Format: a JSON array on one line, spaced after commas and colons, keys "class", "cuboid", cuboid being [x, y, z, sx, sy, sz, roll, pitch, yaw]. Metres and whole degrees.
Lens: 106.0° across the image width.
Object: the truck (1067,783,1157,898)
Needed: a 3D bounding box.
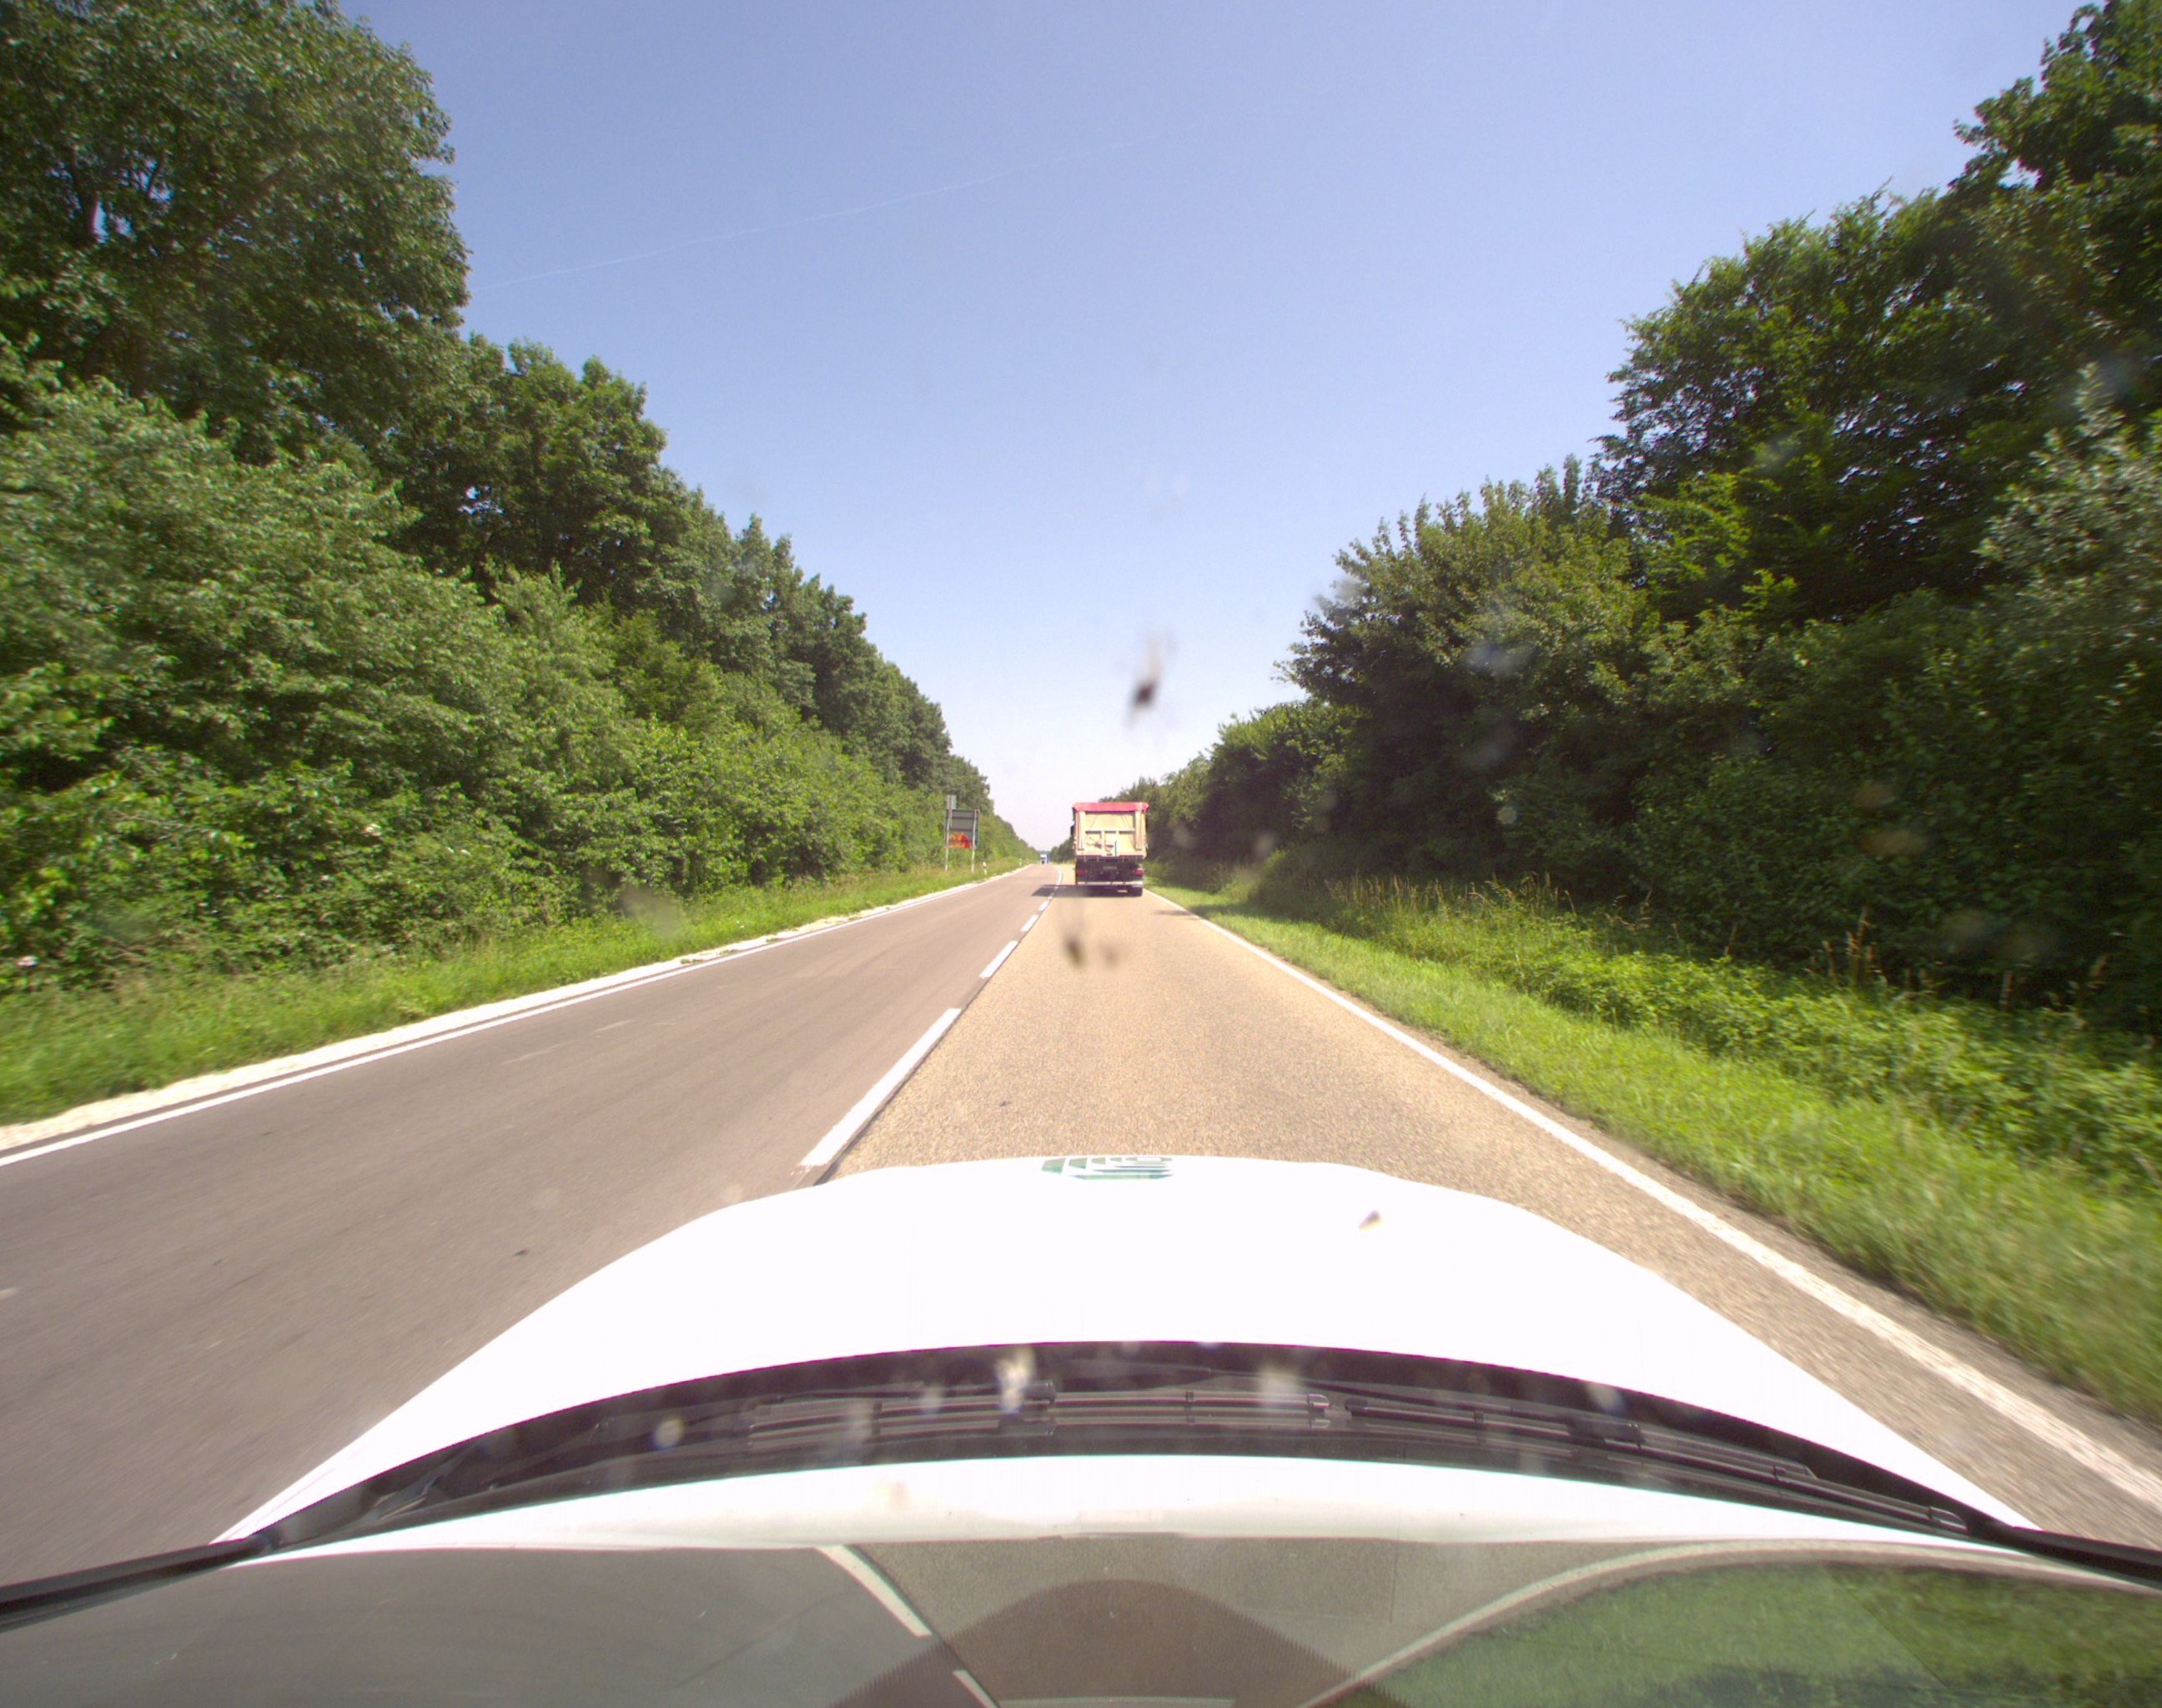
[{"class": "truck", "cuboid": [0.971, -0.477, 34.086, 2.886, 3.962, 11.923, 0, 0, -2]}]
